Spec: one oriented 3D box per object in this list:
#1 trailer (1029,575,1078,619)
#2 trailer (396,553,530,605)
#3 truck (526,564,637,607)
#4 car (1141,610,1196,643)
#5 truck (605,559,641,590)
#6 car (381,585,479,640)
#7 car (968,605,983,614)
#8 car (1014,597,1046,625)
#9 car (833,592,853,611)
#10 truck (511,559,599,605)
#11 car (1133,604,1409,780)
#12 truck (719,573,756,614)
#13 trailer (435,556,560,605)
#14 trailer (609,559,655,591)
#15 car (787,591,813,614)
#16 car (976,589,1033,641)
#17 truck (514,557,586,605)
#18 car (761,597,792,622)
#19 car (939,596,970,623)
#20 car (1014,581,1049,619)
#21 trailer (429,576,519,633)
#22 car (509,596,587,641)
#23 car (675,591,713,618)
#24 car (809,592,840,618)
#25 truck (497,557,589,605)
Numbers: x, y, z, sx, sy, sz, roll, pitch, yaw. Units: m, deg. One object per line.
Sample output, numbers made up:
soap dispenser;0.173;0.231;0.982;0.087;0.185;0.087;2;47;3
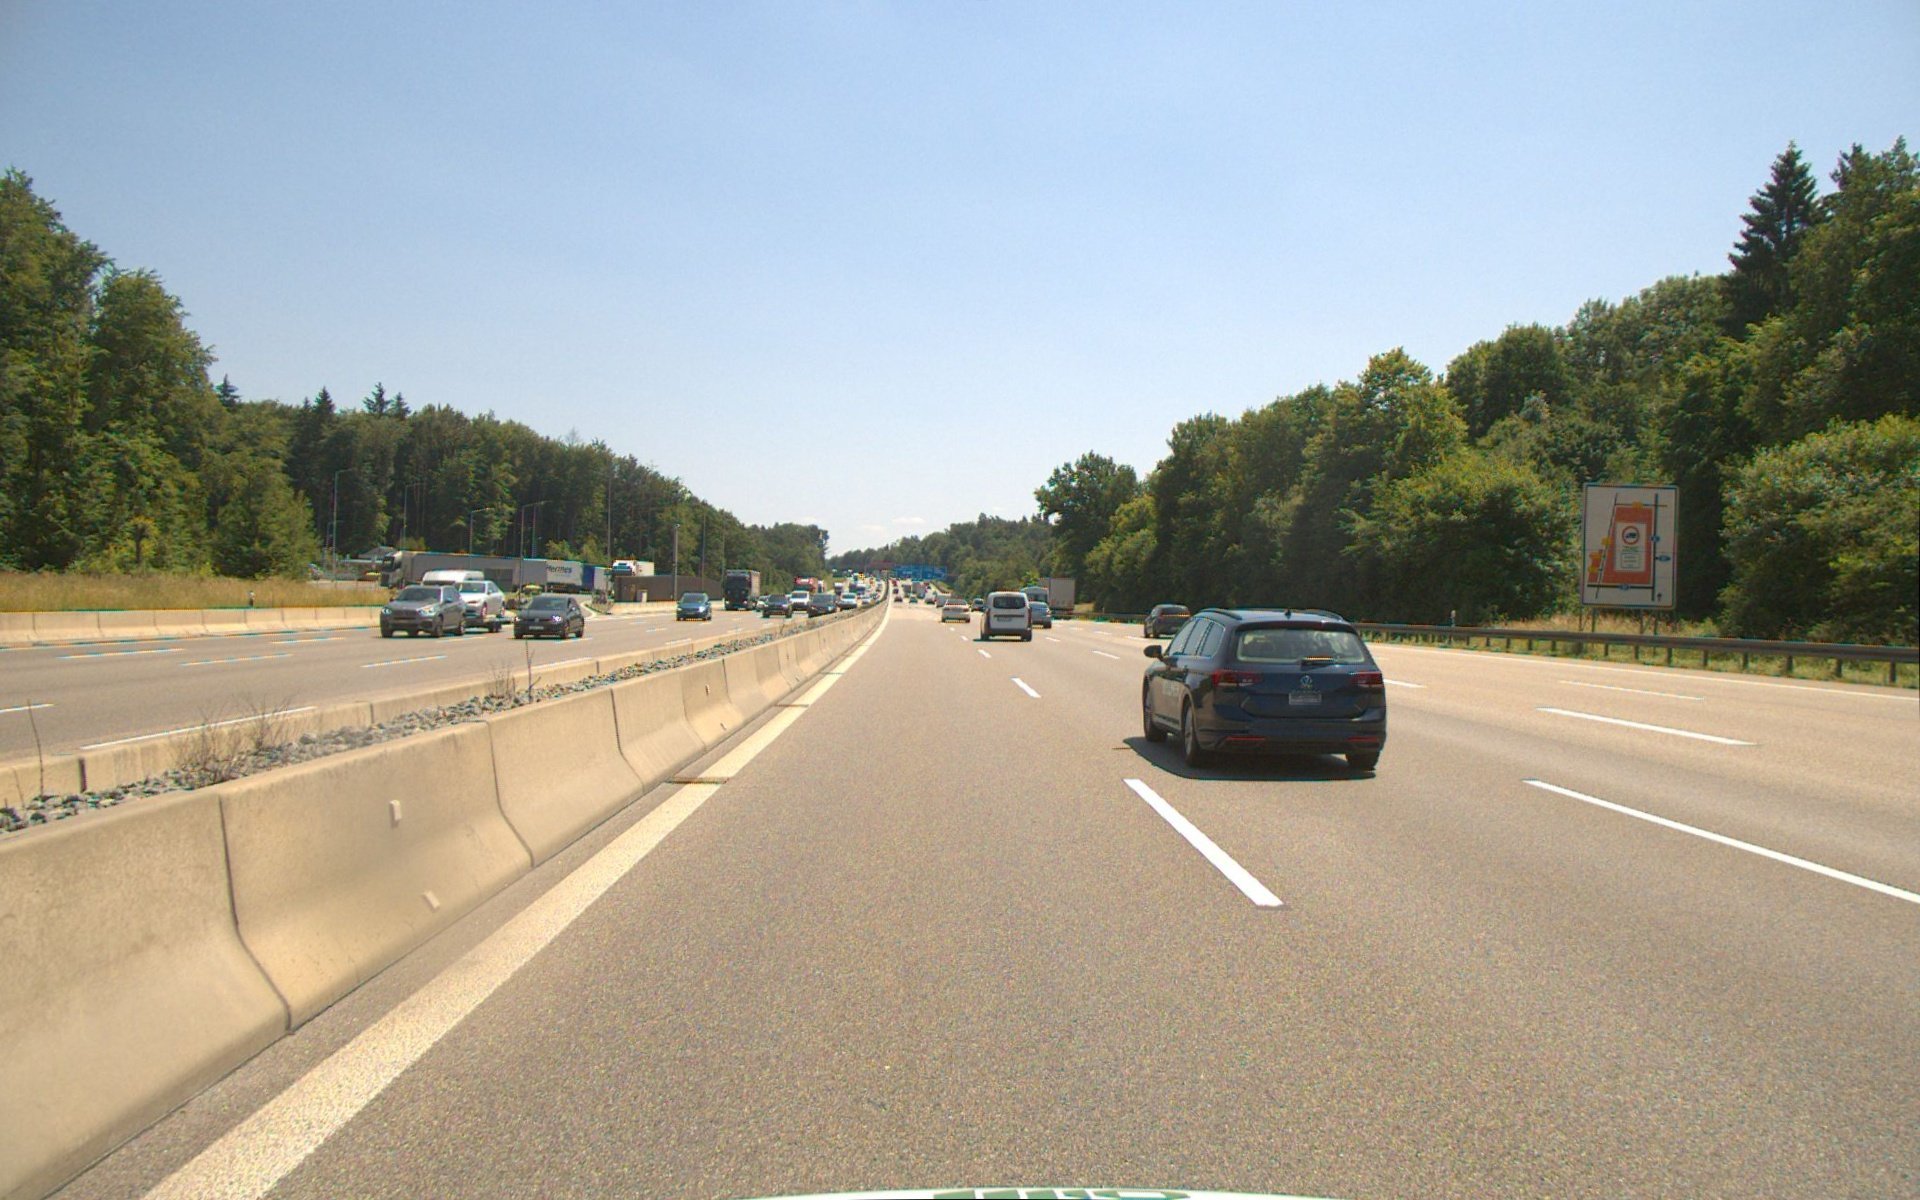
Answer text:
trailer;9.368;-0.403;167.287;3.222;3.998;13.883;3;1;-3
trailer;-53.985;-2.232;180.220;3.074;5.161;14.479;1;0;42
truck;-54.116;-2.014;237.269;3.390;5.711;16.608;1;0;42
car;8.879;1.120;70.706;1.637;1.296;4.288;1;0;-2
truck;-36.687;-2.742;180.129;2.868;3.178;6.199;1;0;-3
car;-18.446;0.412;57.811;1.777;1.789;5.580;0;0;-2
car;2.210;1.347;236.143;1.799;1.361;3.641;1;0;-3
car;3.877;0.597;92.109;1.473;1.527;3.648;1;0;-2
car;-12.748;0.146;179.774;1.953;2.049;5.128;0;0;-2
truck;-53.213;-2.345;217.627;3.171;5.711;11.469;1;0;41
car;2.920;0.792;16.614;1.695;1.472;4.959;0;0;-2
truck;-22.631;-0.658;168.594;3.222;3.999;5.536;1;0;-3
trailer;-53.374;-2.174;191.506;3.166;5.161;14.479;1;0;42
trailer;-36.965;-2.749;186.894;2.912;3.178;14.601;1;0;-3
car;-14.597;0.266;151.073;1.953;2.049;5.127;1;0;-2
car;1.646;0.546;62.804;1.822;1.858;4.610;1;0;-2
truck;-51.777;-2.350;208.833;3.171;5.711;8.438;1;0;41
car;-13.107;0.669;118.089;1.791;1.728;5.001;0;0;-2
car;-0.376;0.598;106.734;1.806;1.657;4.551;1;0;-2
car;5.407;-0.020;125.535;2.101;2.698;5.707;2;1;-2
trailer;-18.624;0.168;63.715;1.817;2.086;6.150;0;0;-2
car;-14.168;0.606;57.084;1.695;1.489;4.574;0;0;-2
car;-16.149;0.245;100.454;1.695;1.598;4.671;0;0;-2
car;-9.187;0.322;112.256;1.812;1.707;5.042;0;0;-2
truck;-53.386;-2.371;212.106;3.171;5.711;11.469;1;0;41
